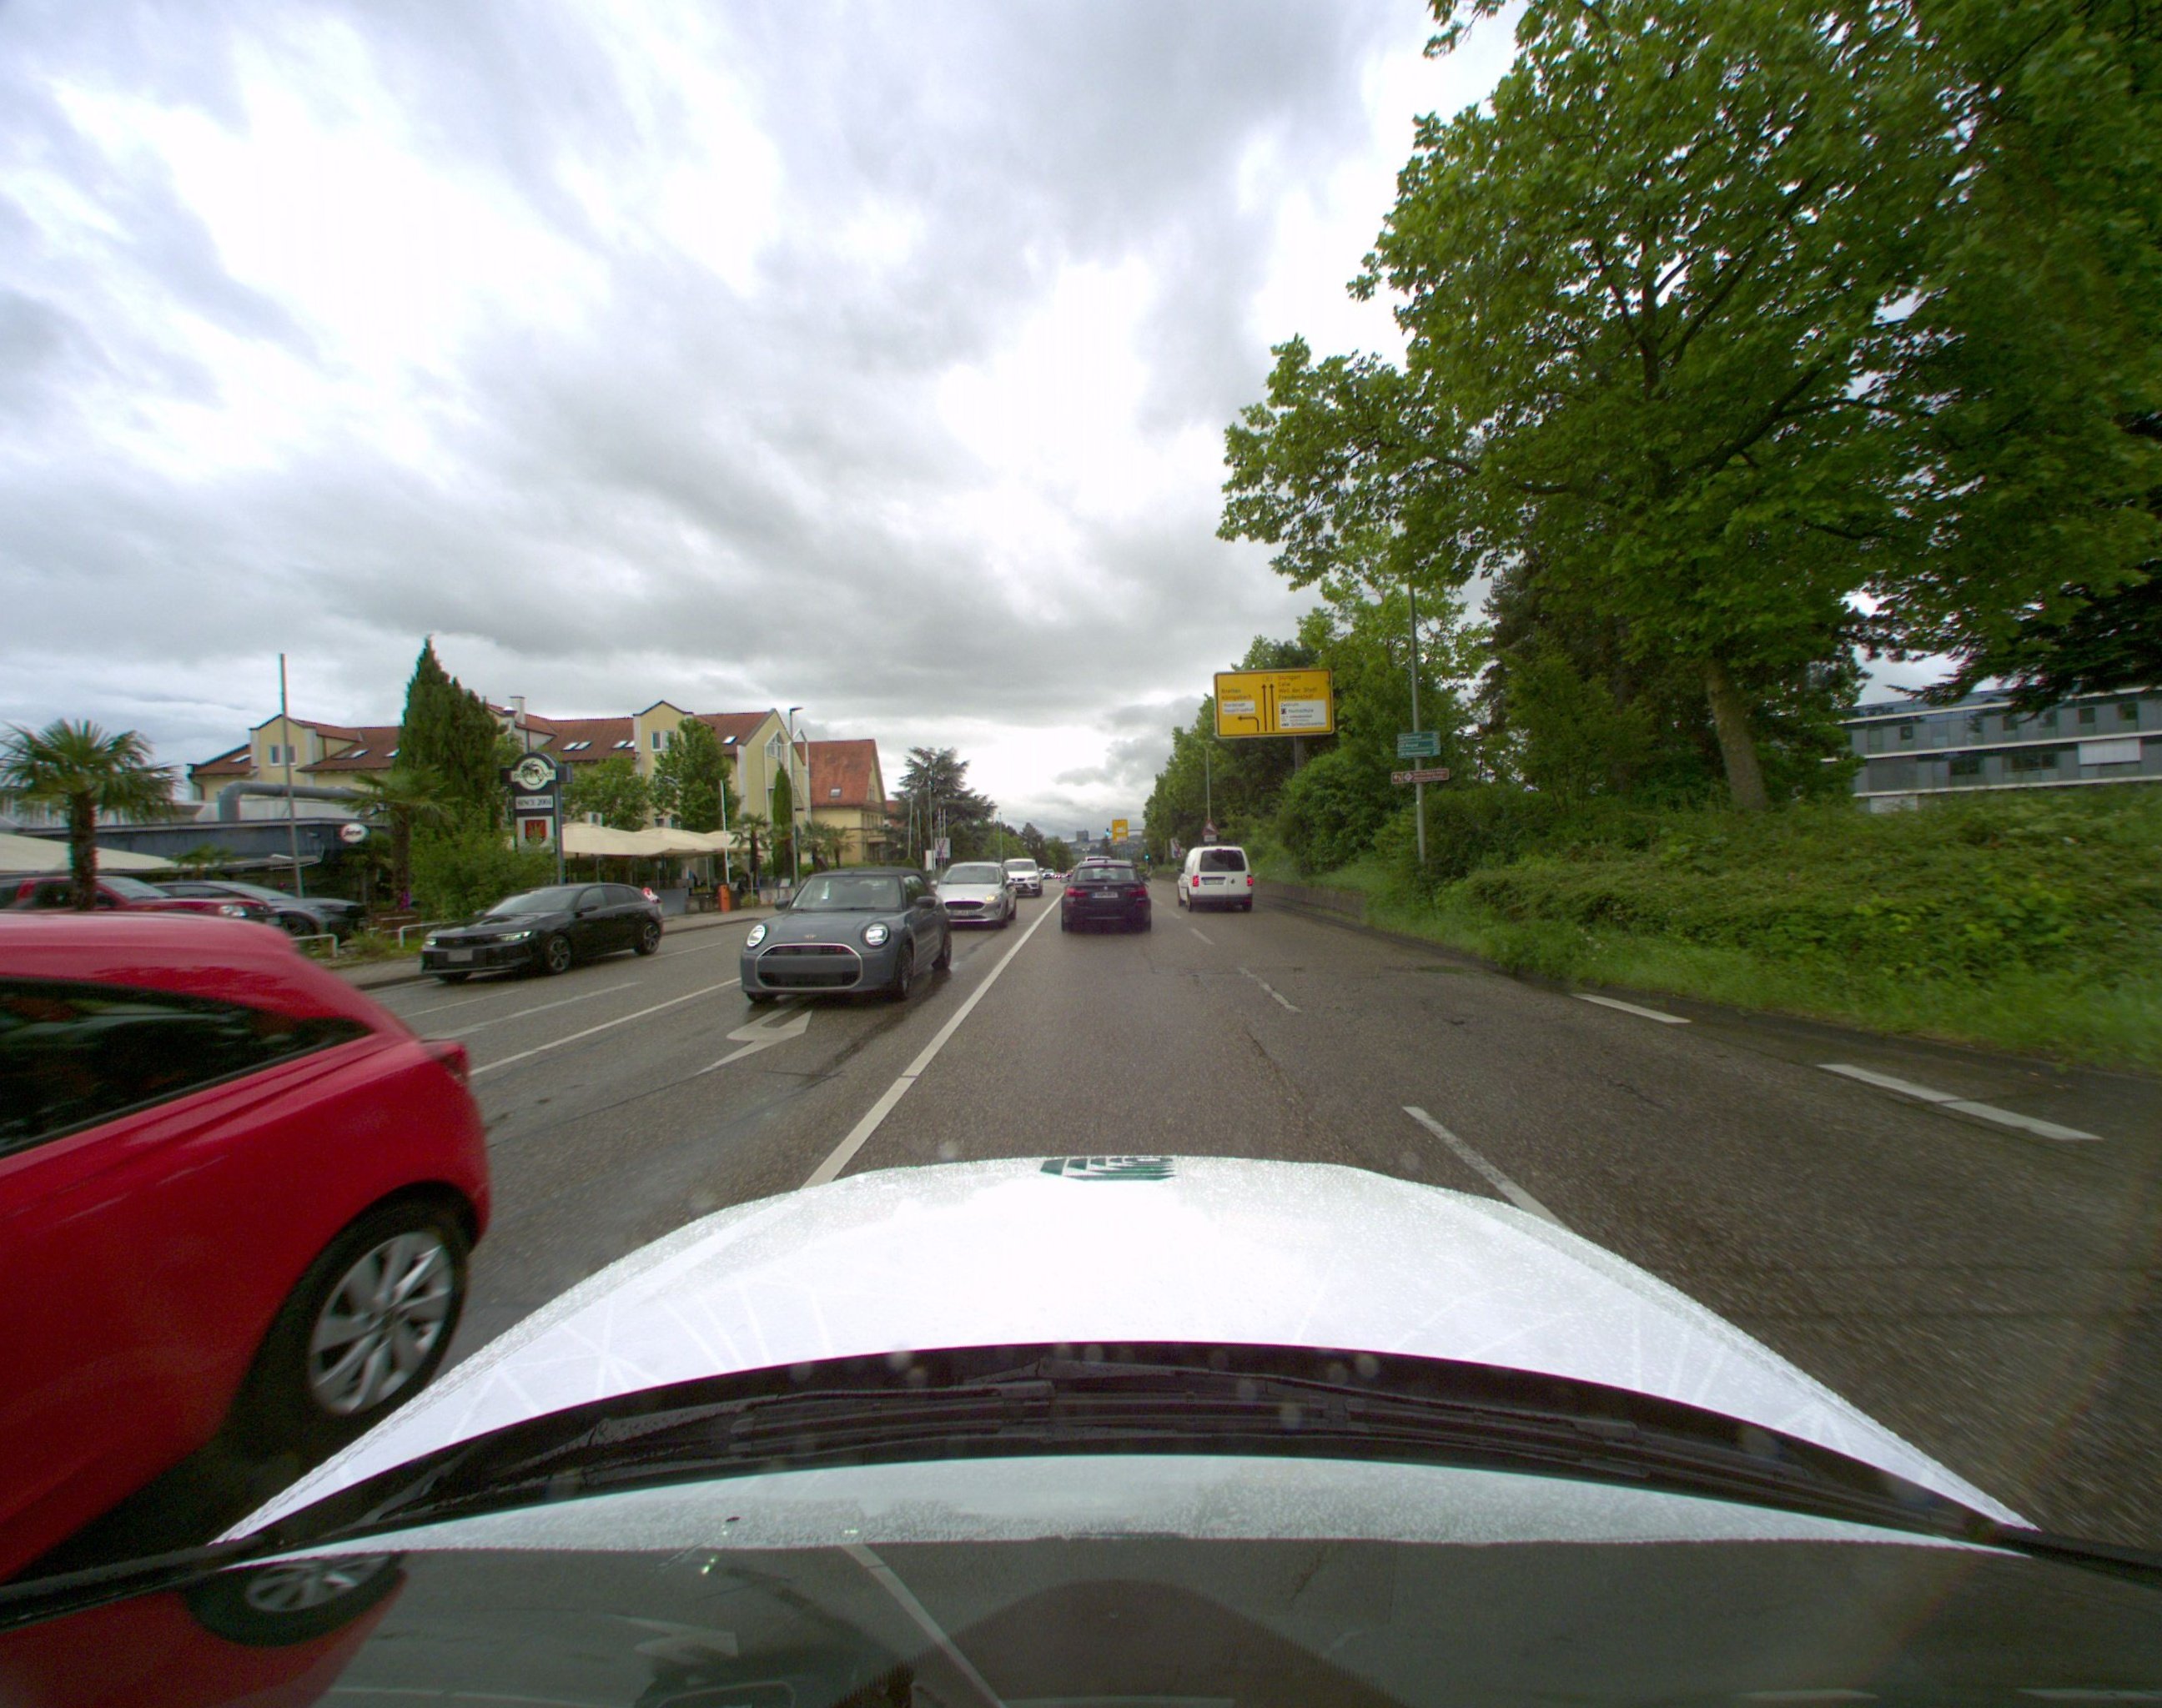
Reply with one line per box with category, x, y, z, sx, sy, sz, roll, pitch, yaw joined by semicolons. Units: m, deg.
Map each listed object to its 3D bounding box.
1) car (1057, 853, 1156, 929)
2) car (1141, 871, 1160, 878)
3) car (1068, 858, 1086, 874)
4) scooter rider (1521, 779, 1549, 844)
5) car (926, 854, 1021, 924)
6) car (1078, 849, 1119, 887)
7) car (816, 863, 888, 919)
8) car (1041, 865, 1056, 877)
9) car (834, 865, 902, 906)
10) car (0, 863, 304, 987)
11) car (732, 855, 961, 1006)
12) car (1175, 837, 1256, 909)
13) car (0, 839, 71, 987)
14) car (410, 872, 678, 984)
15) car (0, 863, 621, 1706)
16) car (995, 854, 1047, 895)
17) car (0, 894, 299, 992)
car;0.574;0.735;17.791;1.891;1.441;4.002;-1;-1;2
car;14.270;4.263;167.176;3.967;1.376;1.587;-1;-2;5
car;-0.479;1.419;94.026;1.861;1.673;4.003;-1;1;2
scooter rider;13.966;-1.301;25.080;0.499;1.965;0.548;-2;1;1
car;-2.396;0.768;19.048;1.596;1.441;3.949;-1;-1;1
car;0.899;0.654;40.352;1.861;1.673;4.003;-1;1;2
car;-6.788;1.054;24.503;1.637;1.477;4.030;-2;-1;-10
car;-5.315;2.772;133.021;1.910;1.763;5.145;-4;-1;2
car;-8.917;1.286;34.393;1.631;1.533;3.972;-4;-1;1
car;-16.581;1.216;13.416;5.024;1.702;1.982;-4;-2;-27
car;-2.641;0.768;10.129;1.596;1.441;3.949;-1;0;1
car;3.790;0.471;23.478;1.758;1.877;3.806;-1;1;1
car;-16.853;0.945;10.411;4.410;2.013;1.982;-4;0;-27
car;-8.920;1.124;14.081;1.596;1.399;4.405;-4;0;0
car;-2.658;0.727;1.100;1.626;1.434;4.145;0;-1;1
car;-2.489;0.839;34.611;1.781;1.581;4.239;-2;-1;1
car;-18.713;1.717;15.966;4.373;1.464;1.984;-4;-2;-23
